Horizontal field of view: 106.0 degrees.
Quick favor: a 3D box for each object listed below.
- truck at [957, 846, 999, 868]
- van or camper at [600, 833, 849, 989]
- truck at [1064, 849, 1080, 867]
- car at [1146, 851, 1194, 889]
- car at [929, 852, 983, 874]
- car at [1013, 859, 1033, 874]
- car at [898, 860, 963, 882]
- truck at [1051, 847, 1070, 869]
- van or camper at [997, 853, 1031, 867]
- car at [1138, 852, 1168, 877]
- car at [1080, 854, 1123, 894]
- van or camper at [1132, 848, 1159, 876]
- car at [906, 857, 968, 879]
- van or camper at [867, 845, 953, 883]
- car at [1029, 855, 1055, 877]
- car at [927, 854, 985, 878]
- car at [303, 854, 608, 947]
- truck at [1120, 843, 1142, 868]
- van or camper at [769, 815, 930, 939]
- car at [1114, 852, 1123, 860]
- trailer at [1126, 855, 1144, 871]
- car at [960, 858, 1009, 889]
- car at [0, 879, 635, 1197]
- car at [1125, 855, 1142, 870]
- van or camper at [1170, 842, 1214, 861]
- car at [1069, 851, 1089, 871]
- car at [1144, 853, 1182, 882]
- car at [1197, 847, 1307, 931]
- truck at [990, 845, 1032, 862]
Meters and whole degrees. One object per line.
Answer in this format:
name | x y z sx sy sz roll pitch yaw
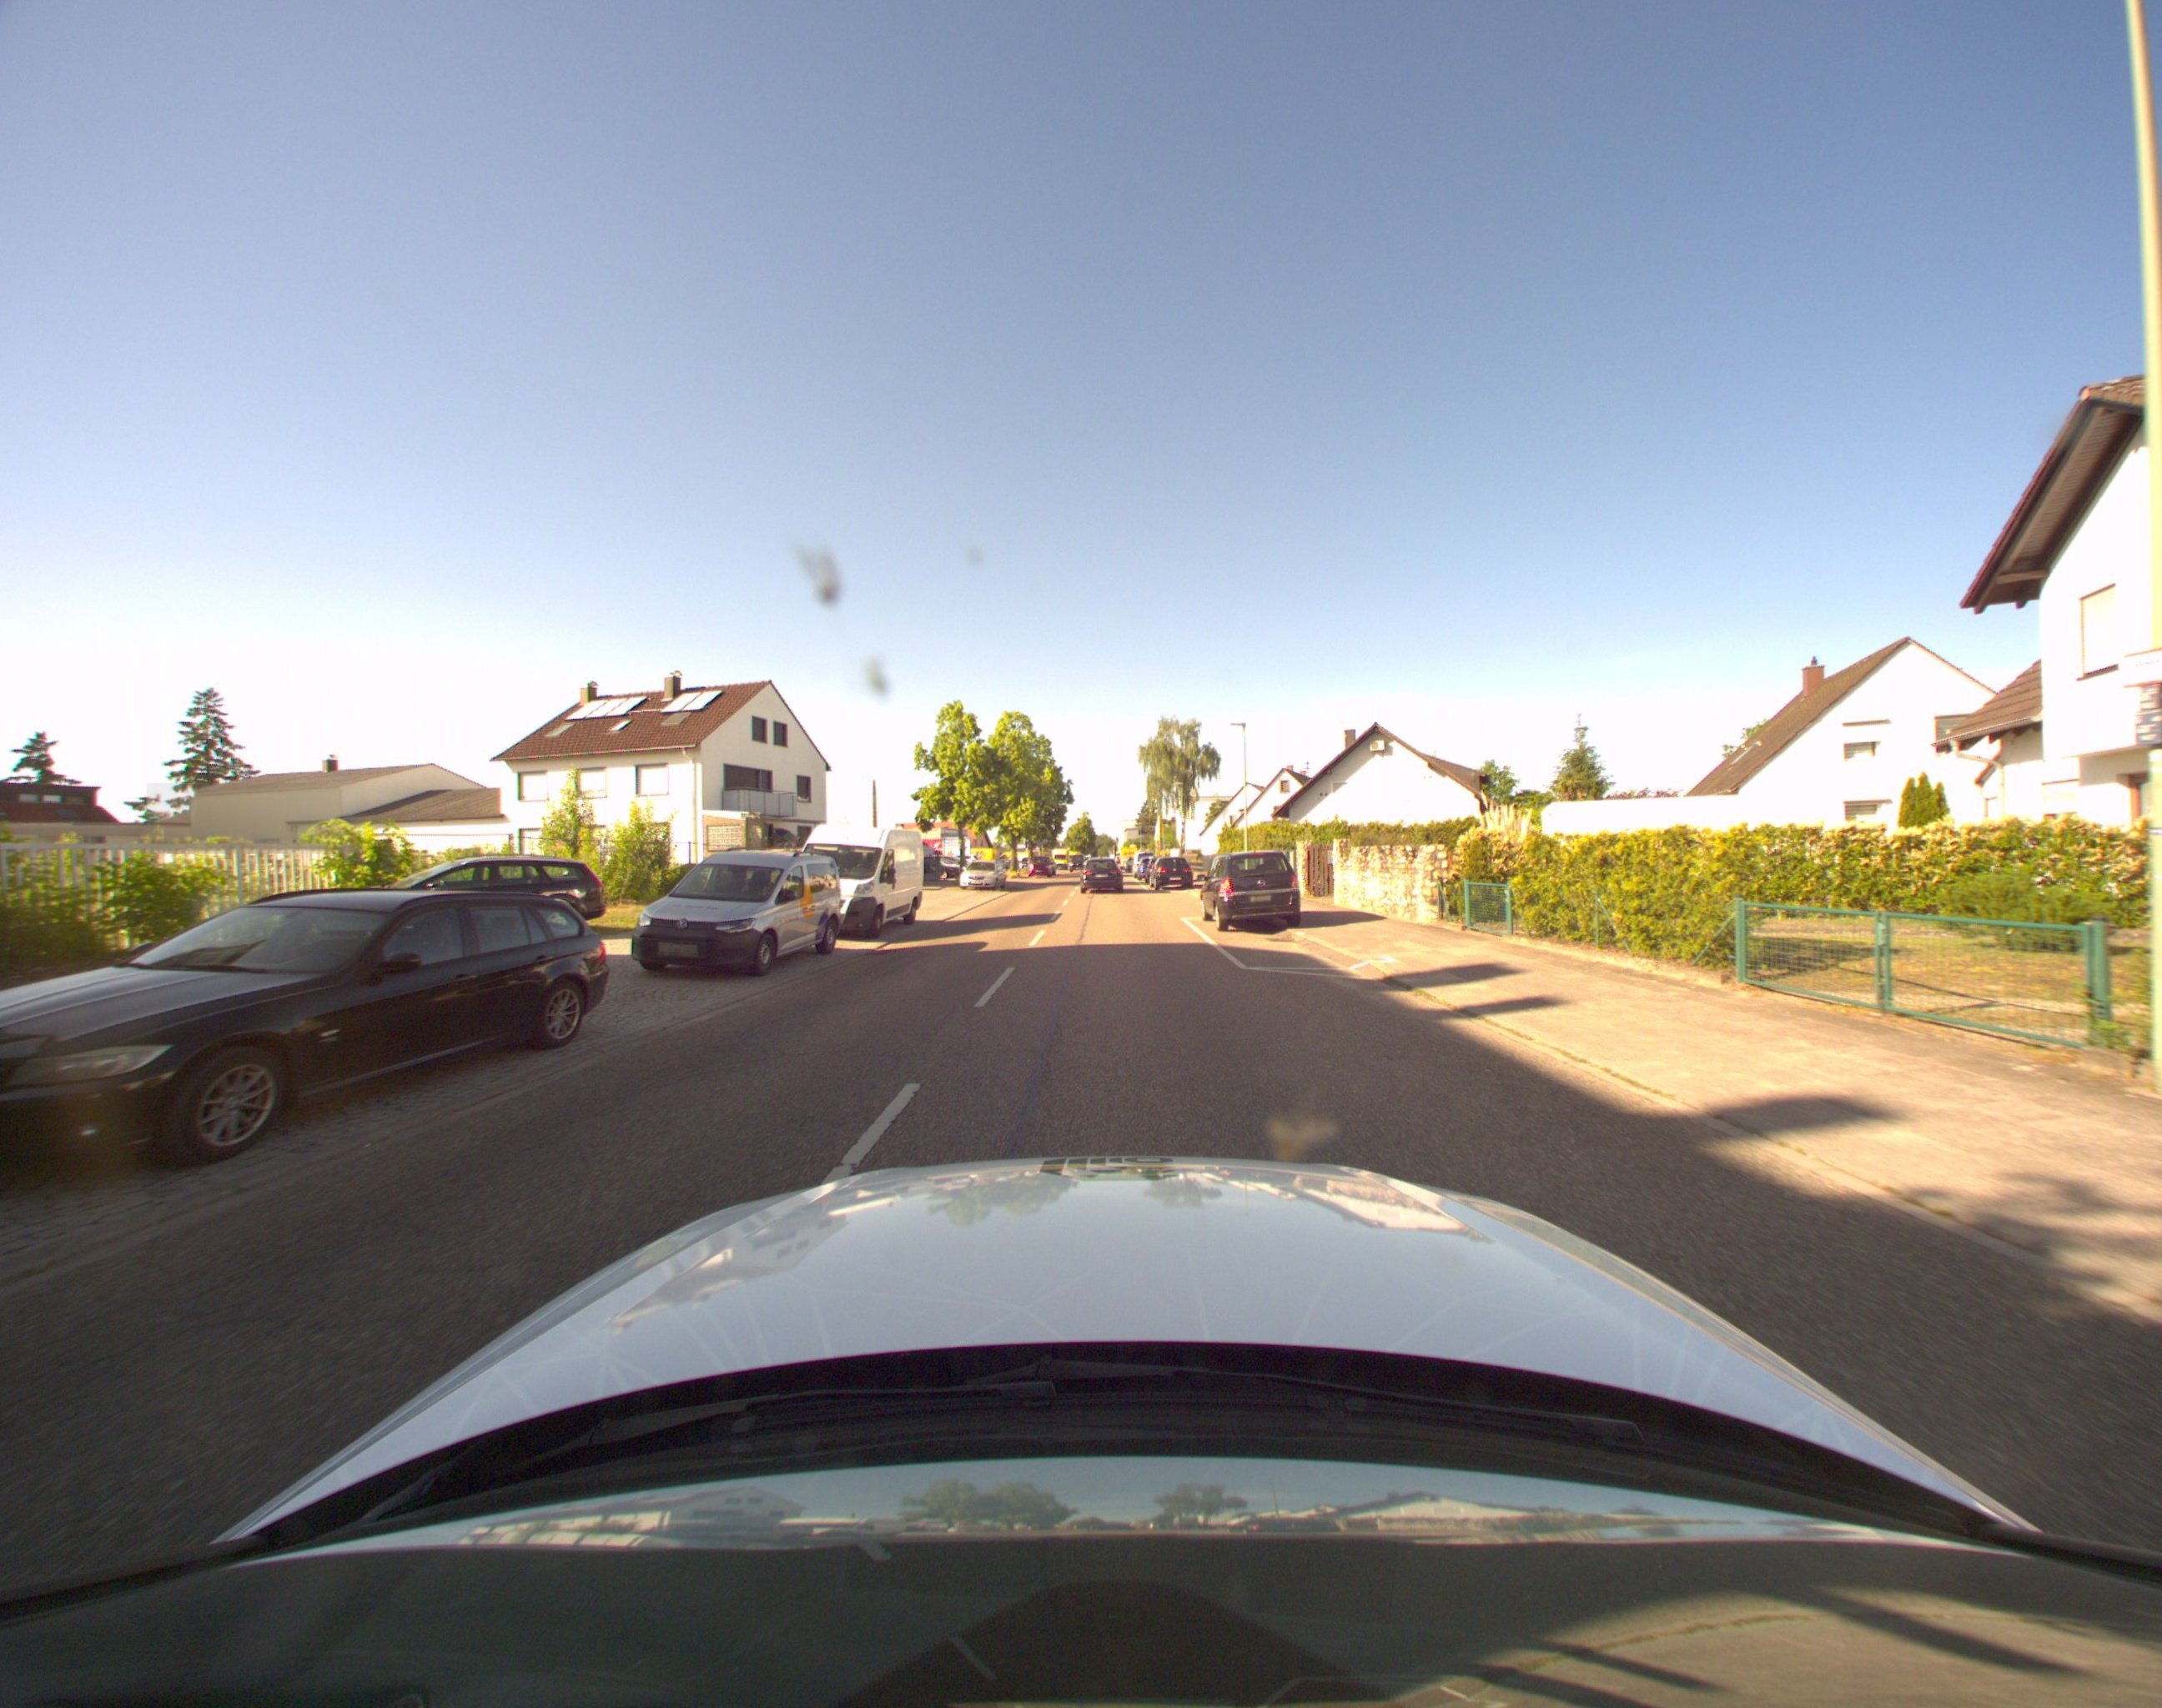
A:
truck | -15.225 0.411 120.638 5.630 3.119 2.532 0 0 12
van or camper | -5.396 0.758 13.066 1.870 2.013 4.281 2 0 2
truck | -1.581 0.727 145.727 2.393 2.983 6.376 0 0 2
car | 4.062 0.710 37.750 1.770 1.659 3.815 -1 0 0
car | -10.809 0.773 70.694 4.226 1.728 1.769 -2 -1 7
car | -6.487 1.422 91.711 1.855 1.590 4.276 -1 -2 1
car | -10.909 1.250 59.151 4.226 1.542 1.769 -1 0 7
truck | -2.874 0.546 113.975 2.394 2.983 7.245 0 0 1
van or camper | -9.778 0.903 119.456 4.518 2.014 2.256 -1 0 8
car | 4.534 0.666 51.826 1.712 1.505 3.565 -1 0 2
car | 0.914 0.807 34.524 1.705 1.532 3.690 -2 0 3
van or camper | 4.577 0.538 57.807 1.712 1.890 4.181 -1 0 2
car | -10.845 1.046 61.624 4.227 1.542 1.769 -2 1 6
van or camper | -10.888 0.627 51.943 4.857 2.320 2.252 -1 -1 14
car | -3.272 0.994 68.254 1.797 1.752 4.343 1 0 2
car | -10.016 0.944 65.224 4.229 1.752 1.768 -2 -1 4
car | -11.787 0.775 15.622 1.594 1.513 4.415 -1 0 41
truck | 6.343 0.265 103.985 2.394 2.936 7.018 -3 -1 2
van or camper | -5.261 0.471 19.500 2.115 2.490 5.556 1 0 1
car | 8.375 0.516 184.005 1.912 1.825 4.081 -1 0 2
trailer | 5.277 0.865 79.837 1.620 1.538 3.200 -1 0 3
car | -4.791 0.939 40.875 1.679 1.435 4.213 1 0 4
car | -5.464 0.987 6.242 1.603 1.435 4.315 0 0 2
car | 5.452 0.860 84.658 1.666 1.542 4.049 -1 0 5
van or camper | 15.808 -0.383 115.753 5.841 2.541 2.271 -1 0 -25
car | -0.206 0.779 91.877 1.887 2.031 4.820 -3 0 2
car | 4.508 0.726 45.149 1.713 1.505 3.907 -1 0 1
car | 3.711 0.691 18.371 1.768 1.659 4.307 -1 0 3
truck | -10.569 -0.066 122.461 5.881 2.567 2.231 0 0 13
